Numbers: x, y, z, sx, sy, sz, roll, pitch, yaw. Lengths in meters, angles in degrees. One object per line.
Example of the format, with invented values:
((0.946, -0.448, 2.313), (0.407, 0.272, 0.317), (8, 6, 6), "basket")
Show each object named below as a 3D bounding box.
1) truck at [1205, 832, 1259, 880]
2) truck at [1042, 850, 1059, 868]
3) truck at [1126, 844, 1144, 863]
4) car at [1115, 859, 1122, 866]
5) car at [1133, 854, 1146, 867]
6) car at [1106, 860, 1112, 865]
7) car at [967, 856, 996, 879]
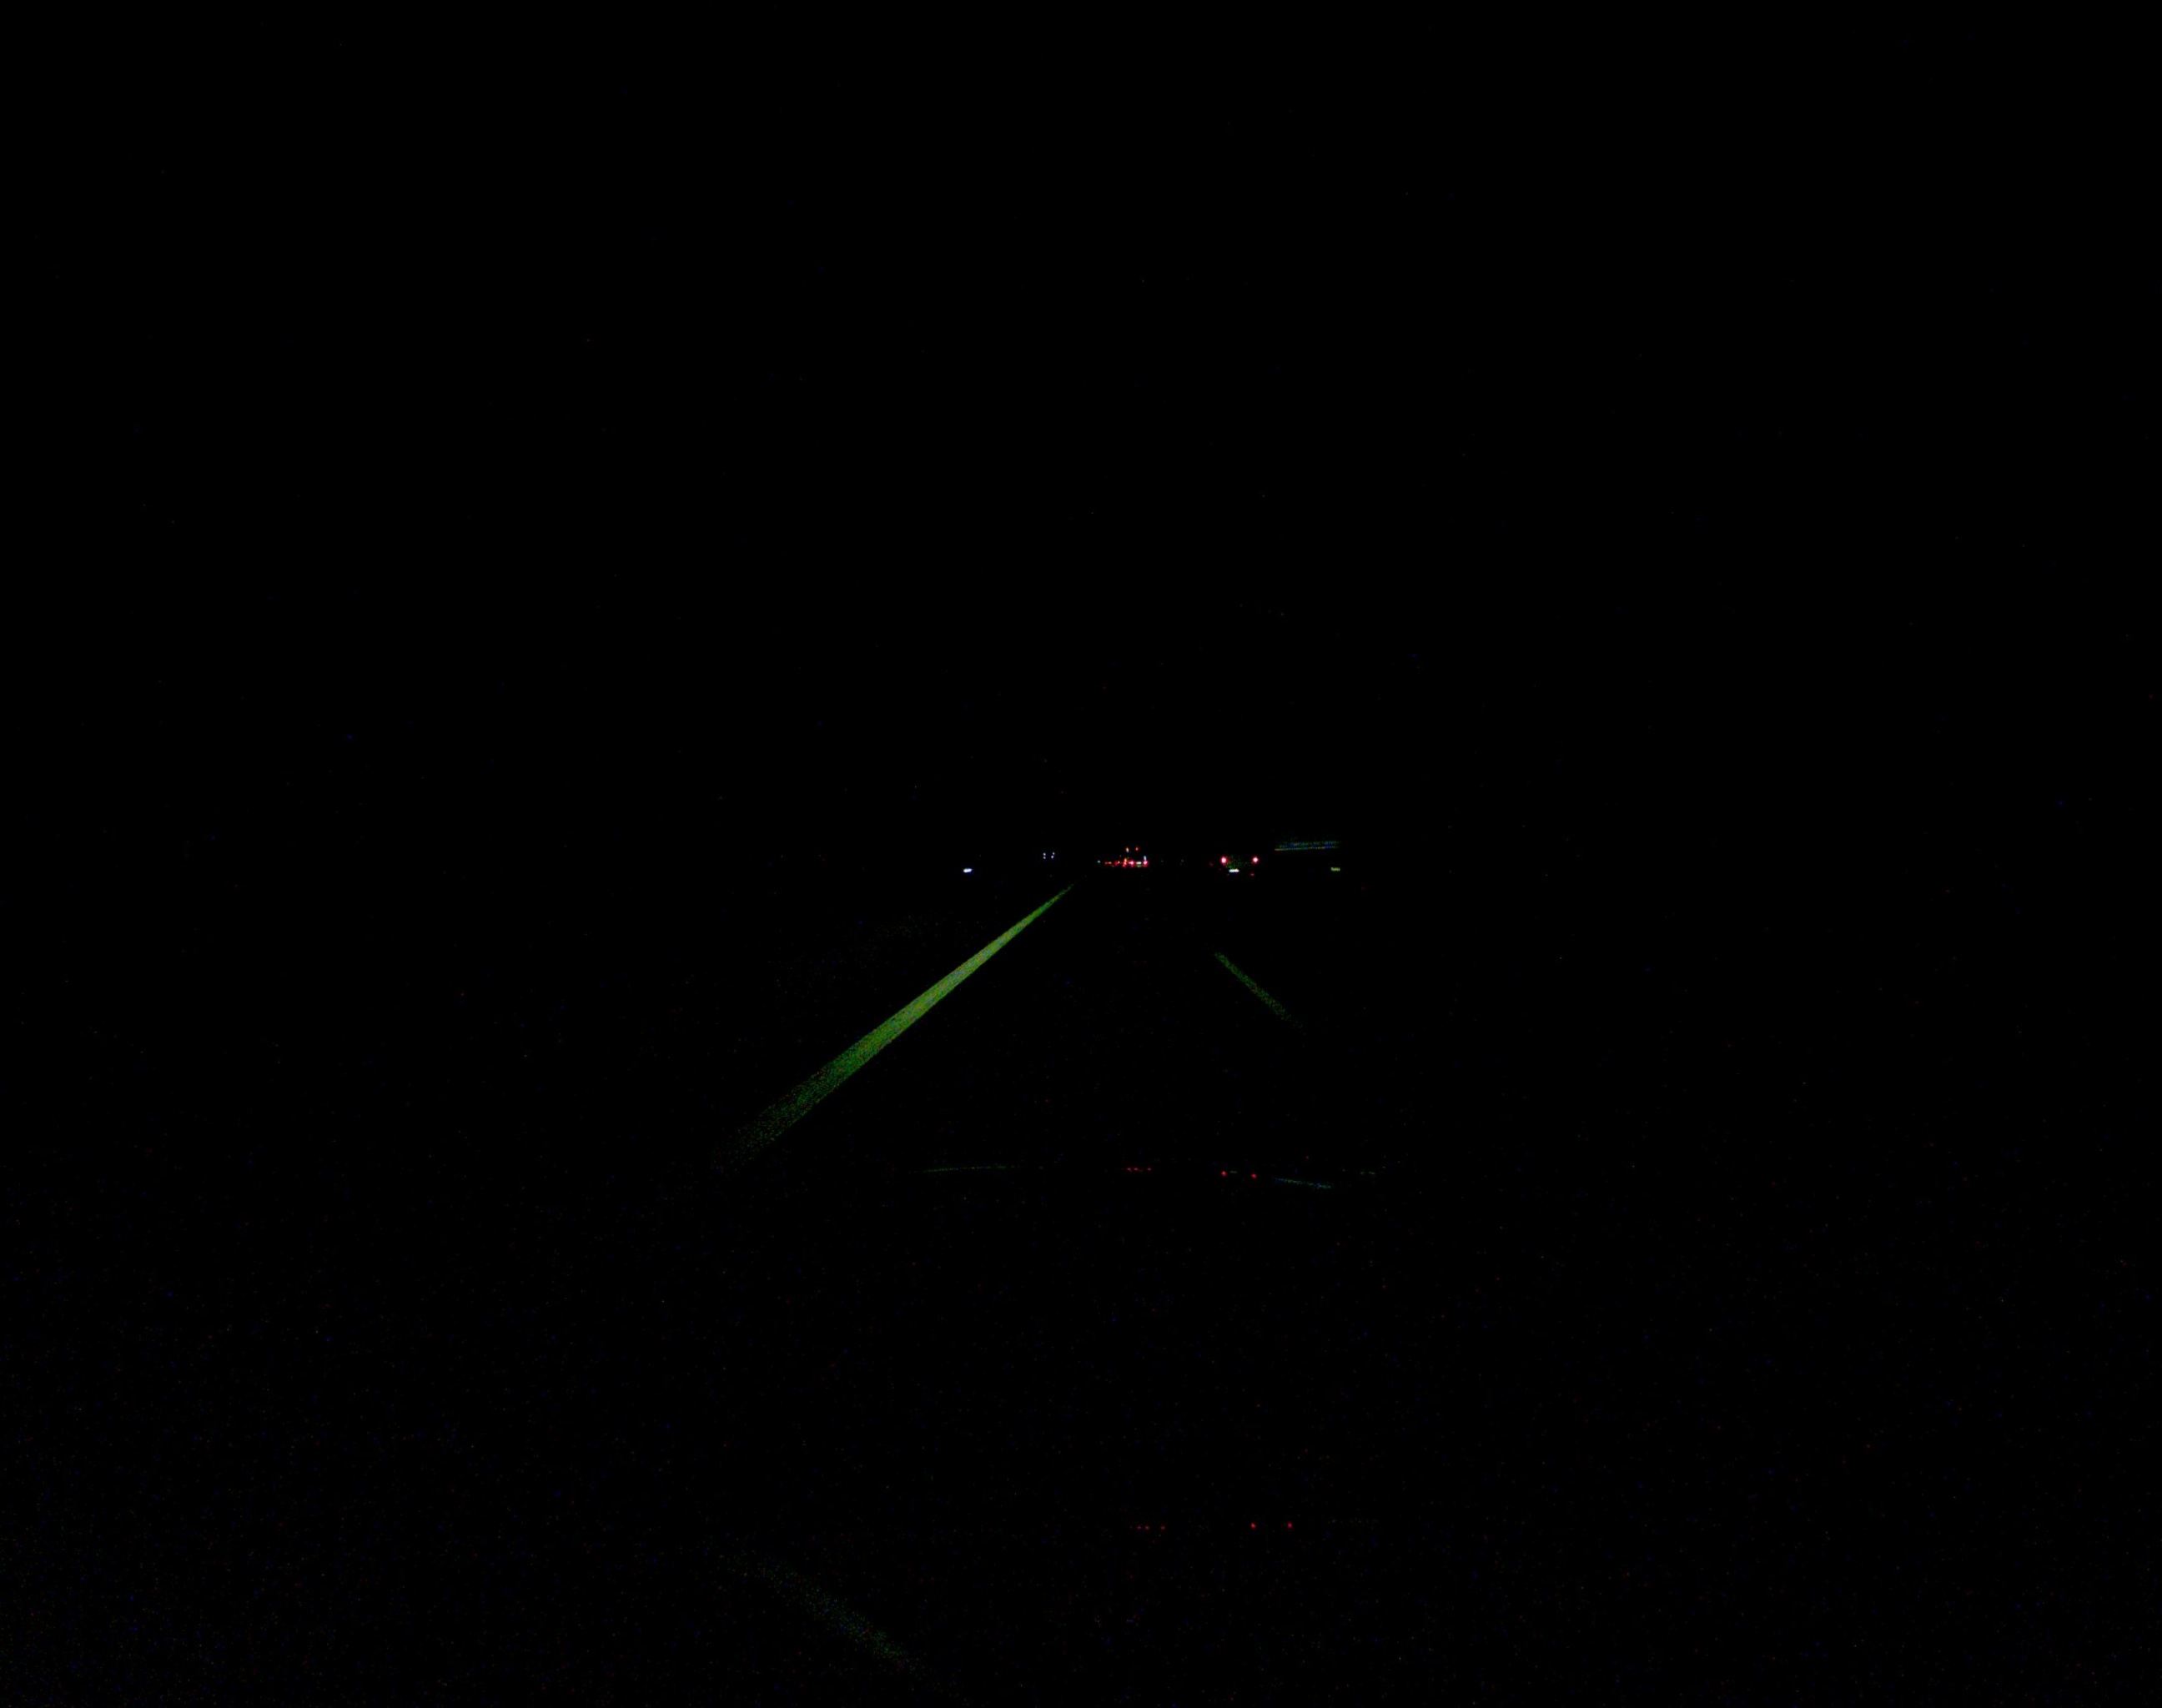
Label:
((9.009, 0.177, 49.276), (2.069, 2.691, 7.308), (0, -1, 1), "truck")
((-8.138, 1.326, 221.488), (3.234, 4.488, 17.449), (0, 1, 2), "truck")
((9.700, -0.107, 146.586), (3.032, 3.324, 10.149), (0, 1, 3), "truck")
((9.332, 2.099, 201.965), (1.813, 1.466, 4.251), (0, 1, 3), "car")
((6.597, 0.743, 91.715), (1.340, 1.387, 3.504), (0, 1, 3), "car")
((8.981, 2.712, 260.068), (1.813, 1.466, 4.251), (0, 1, 3), "car")
((-9.185, 1.230, 75.601), (1.901, 1.922, 5.458), (-3, 1, 1), "car")
